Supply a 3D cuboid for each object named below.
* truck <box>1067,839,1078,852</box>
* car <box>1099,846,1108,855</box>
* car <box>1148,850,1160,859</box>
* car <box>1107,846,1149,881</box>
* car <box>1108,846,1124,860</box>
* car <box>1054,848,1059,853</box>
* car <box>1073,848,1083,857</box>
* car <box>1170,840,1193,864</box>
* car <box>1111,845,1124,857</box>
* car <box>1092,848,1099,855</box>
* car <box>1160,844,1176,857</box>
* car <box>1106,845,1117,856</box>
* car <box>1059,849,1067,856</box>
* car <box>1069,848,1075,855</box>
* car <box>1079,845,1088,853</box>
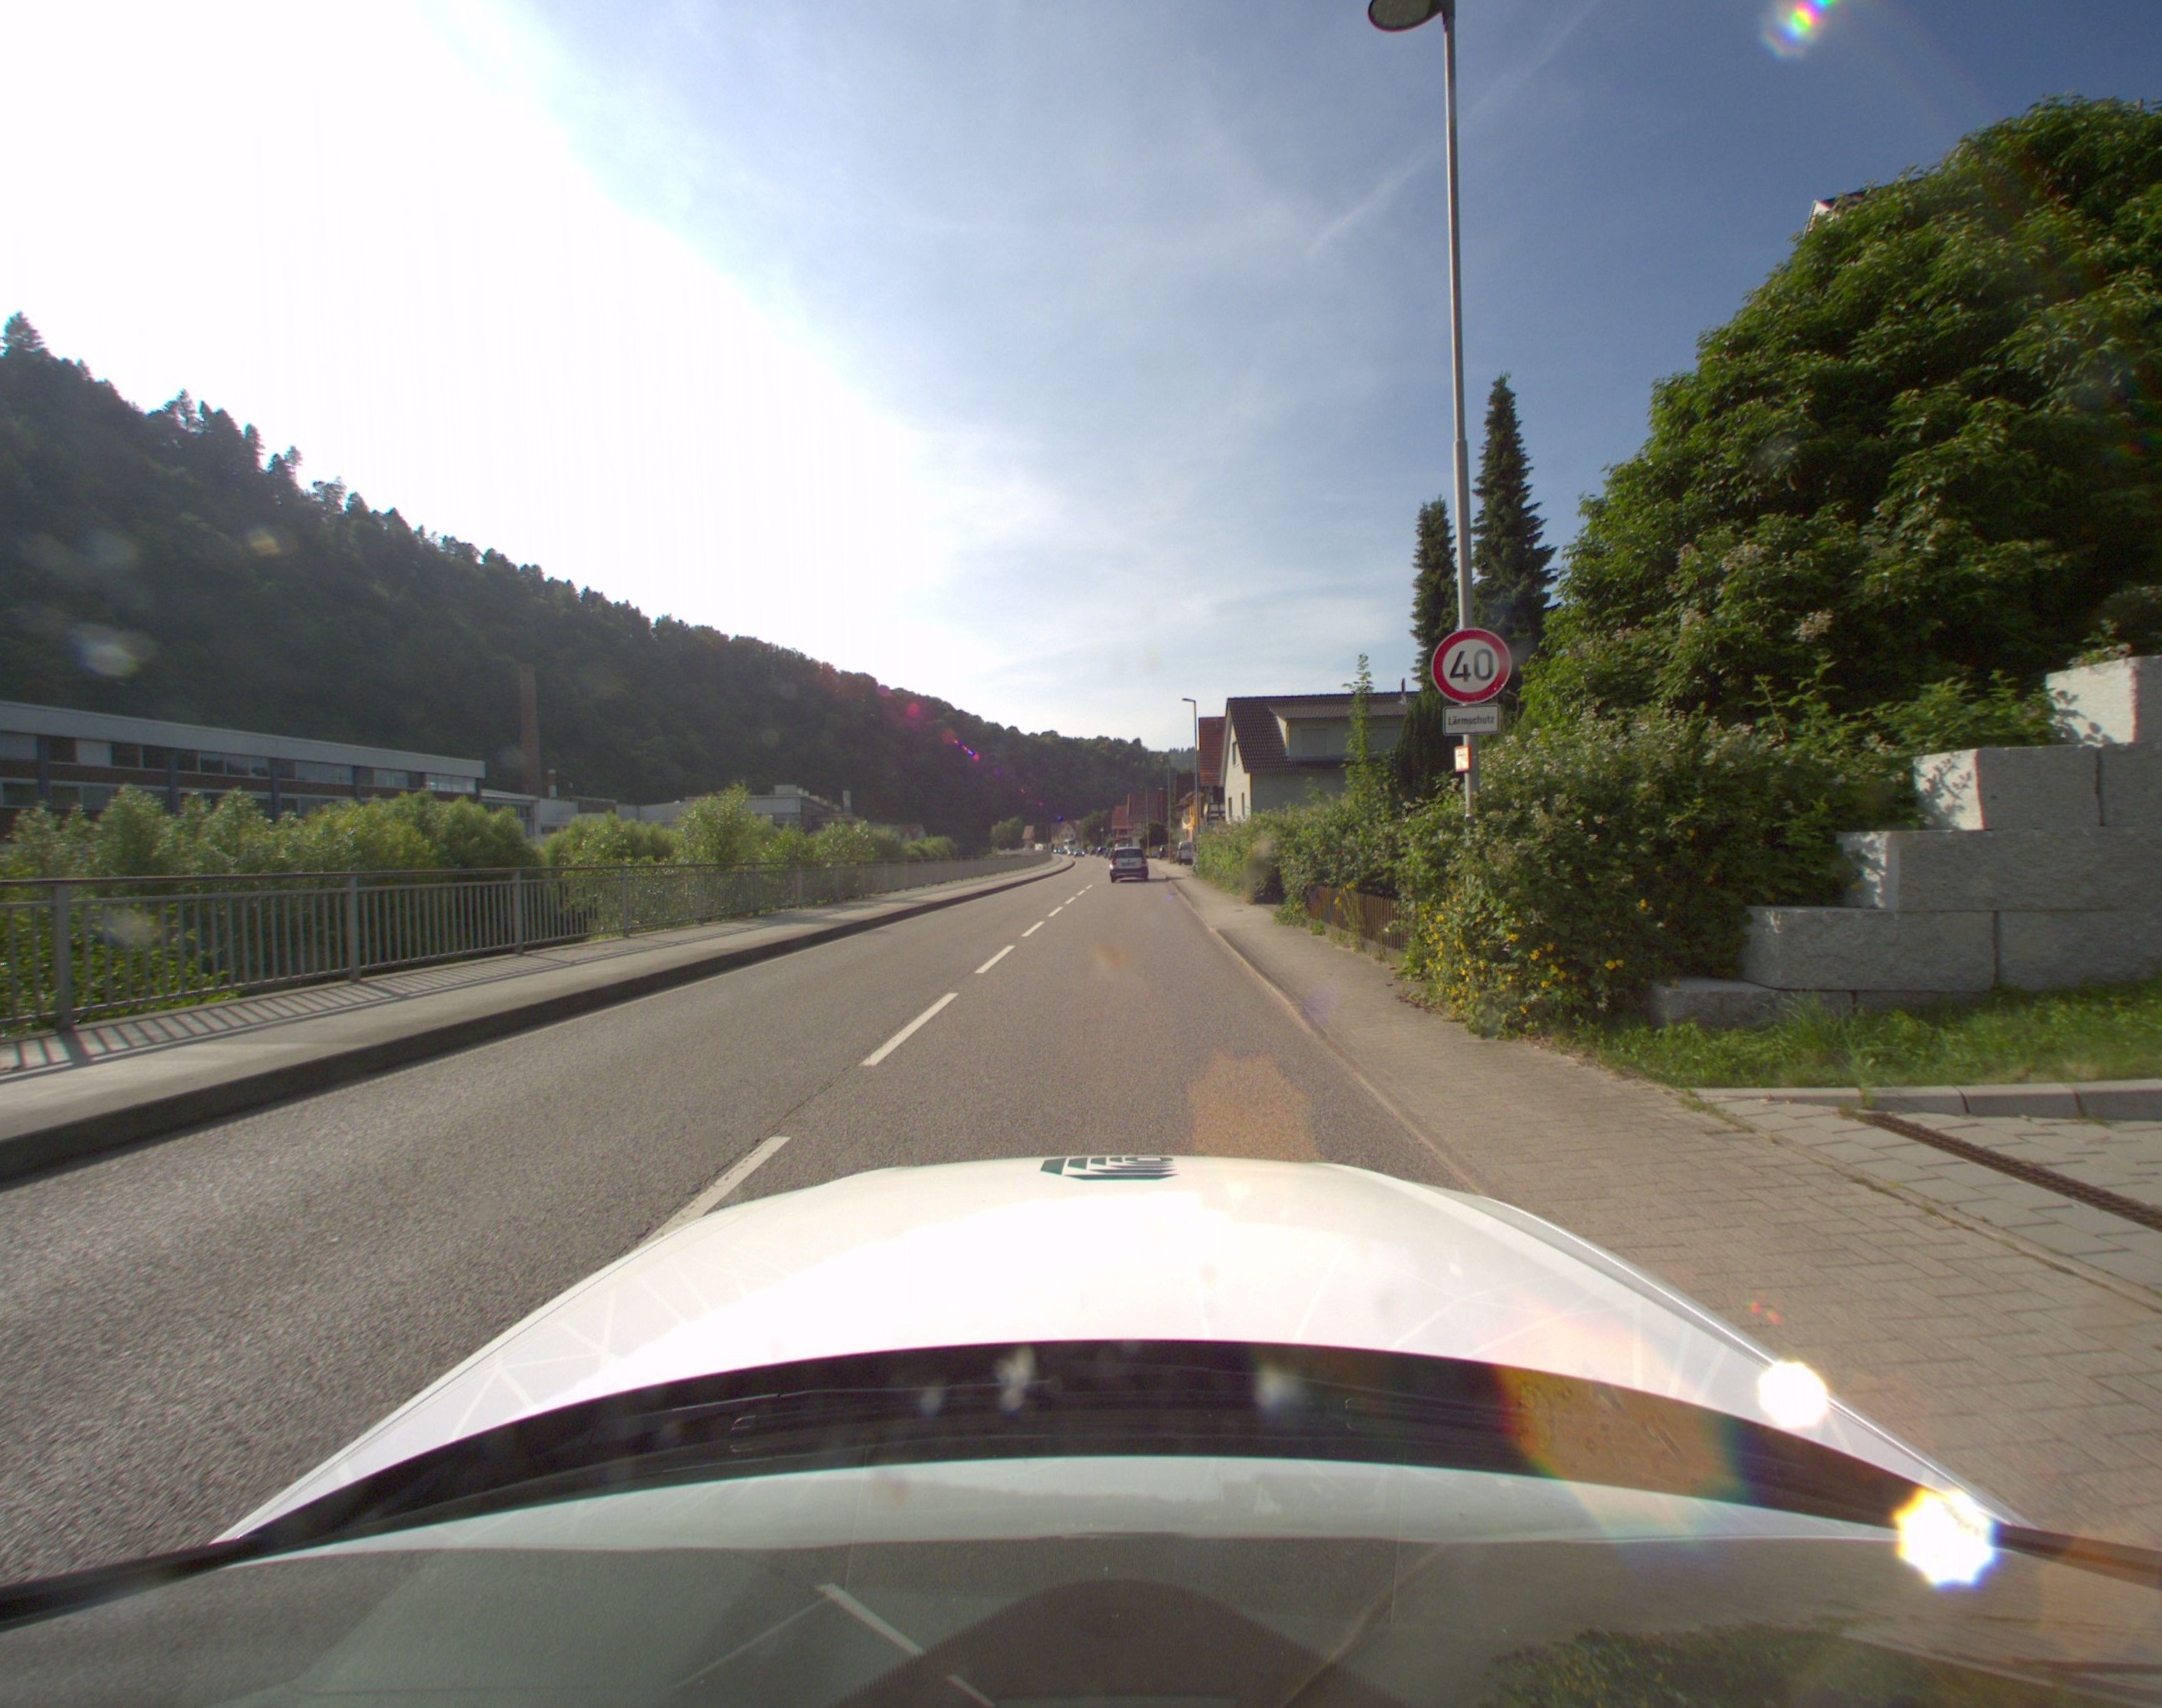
[{"bbox_3d":[-2.321,-2.399,219.306,2.720,3.374,6.477,-2,1,0],"label":"truck"},{"bbox_3d":[3.734,-0.585,135.870,1.359,1.278,3.083,-2,-1,1],"label":"car"},{"bbox_3d":[8.281,0.020,92.807,1.290,0.974,2.926,-2,-1,5],"label":"car"},{"bbox_3d":[2.316,0.420,39.205,1.852,1.544,4.378,-2,0,4],"label":"car"},{"bbox_3d":[3.864,-0.092,89.567,1.615,1.541,3.280,-2,-1,2],"label":"car"},{"bbox_3d":[-6.904,-1.058,227.760,1.362,1.278,3.078,-2,-1,-4],"label":"car"},{"bbox_3d":[-0.501,-0.277,139.437,1.426,1.383,3.140,-2,1,6],"label":"car"},{"bbox_3d":[7.441,-0.130,60.292,1.601,1.646,3.658,-2,-1,7],"label":"car"},{"bbox_3d":[4.677,-0.405,103.831,1.603,1.459,3.347,-2,-1,2],"label":"car"},{"bbox_3d":[2.740,-0.550,156.584,1.360,1.278,3.083,-2,-1,1],"label":"car"},{"bbox_3d":[9.062,-0.342,85.007,1.537,1.216,3.282,-2,-1,6],"label":"car"},{"bbox_3d":[4.447,-0.544,118.438,1.473,1.459,3.084,-2,-1,2],"label":"car"},{"bbox_3d":[-4.462,-0.436,204.245,1.745,1.544,3.995,-2,1,-4],"label":"car"},{"bbox_3d":[-1.881,-0.467,170.460,1.360,1.278,3.082,-2,-1,-1],"label":"car"},{"bbox_3d":[0.550,-1.165,187.251,1.667,1.752,3.452,-2,1,3],"label":"car"}]
